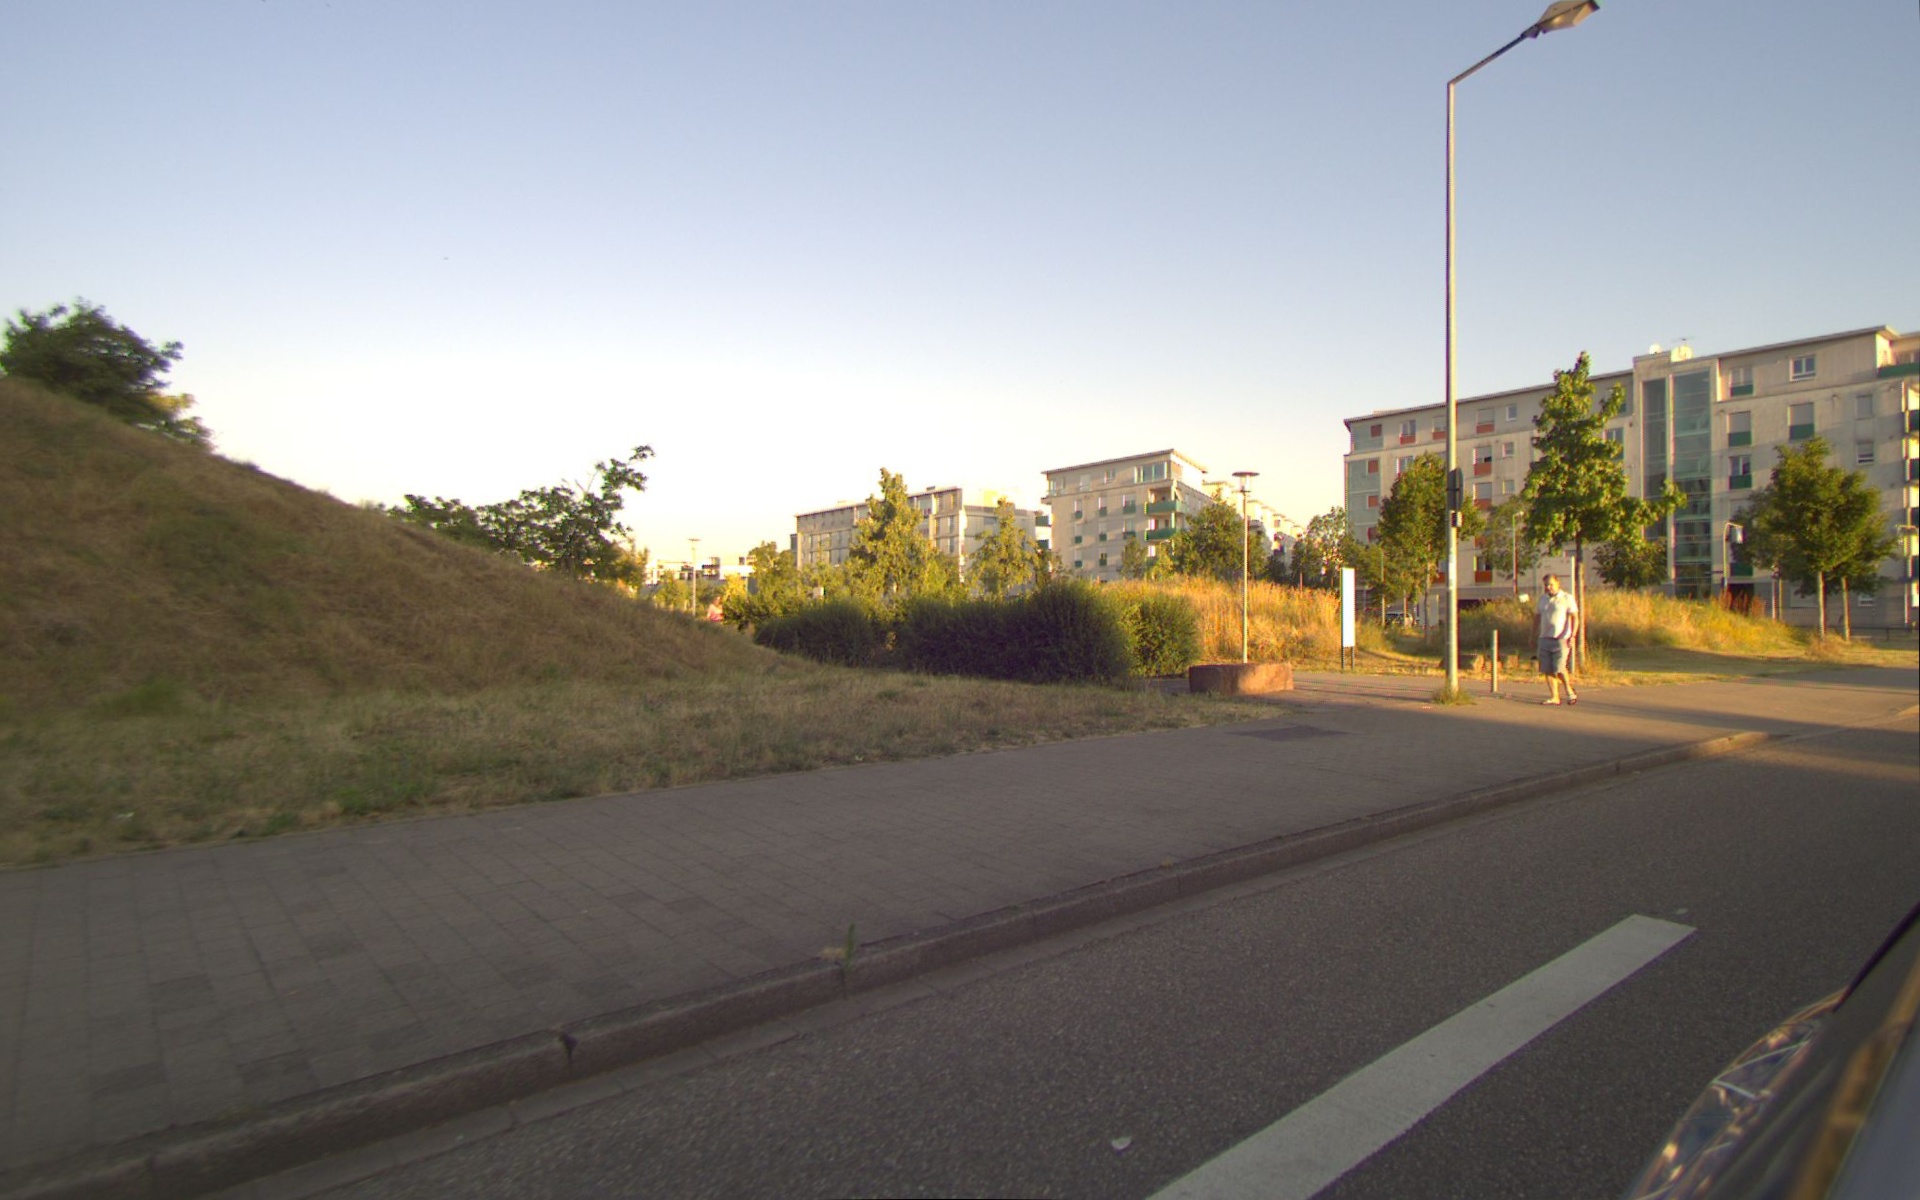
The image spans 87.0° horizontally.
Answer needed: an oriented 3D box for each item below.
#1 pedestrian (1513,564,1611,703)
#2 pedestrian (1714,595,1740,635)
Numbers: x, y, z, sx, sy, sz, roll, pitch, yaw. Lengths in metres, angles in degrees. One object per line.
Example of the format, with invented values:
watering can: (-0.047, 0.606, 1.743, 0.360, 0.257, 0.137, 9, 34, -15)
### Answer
pedestrian: (8.088, 0.416, 13.608, 0.802, 1.788, 0.834, 0, 2, -34)
pedestrian: (34.788, 0.674, 45.898, 0.787, 1.807, 0.733, 2, -2, -38)
